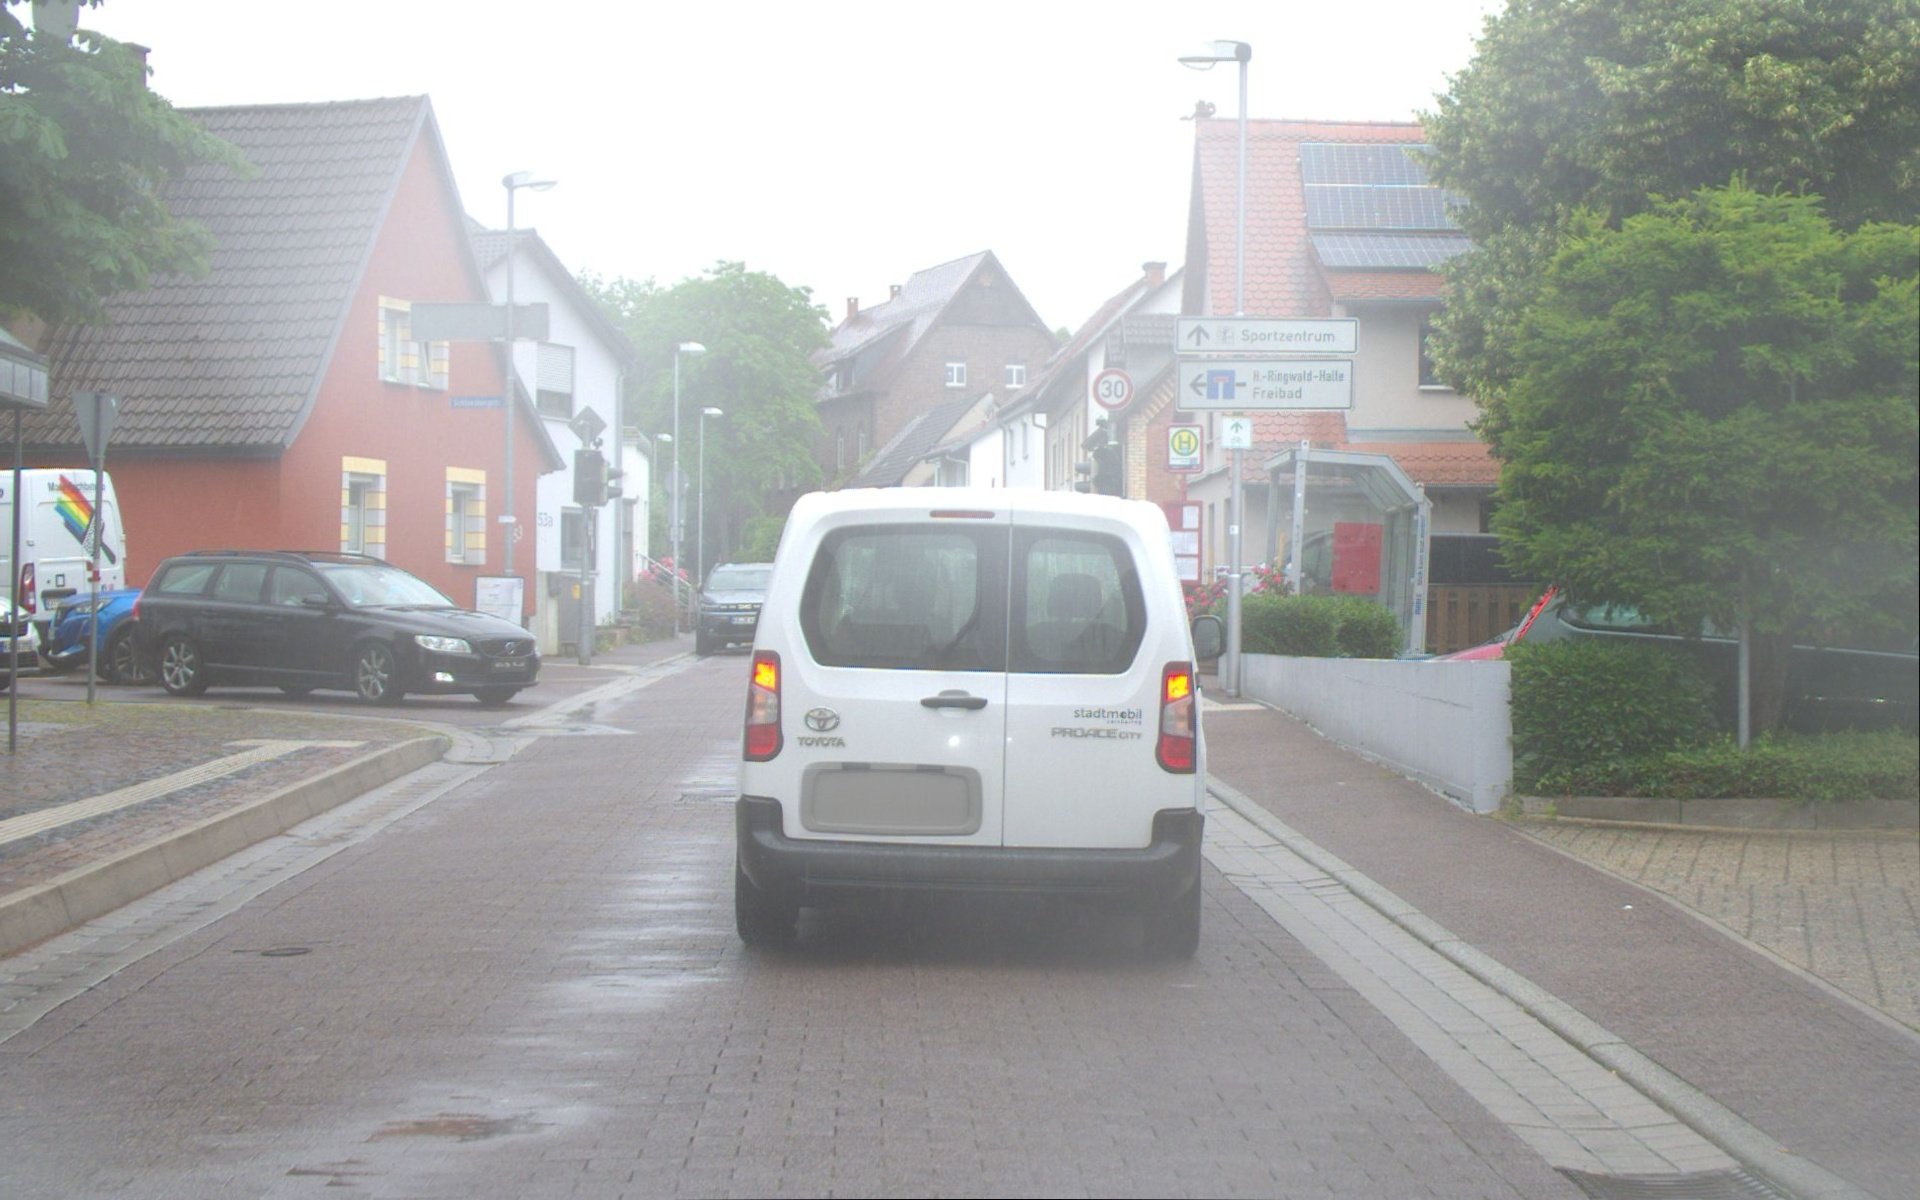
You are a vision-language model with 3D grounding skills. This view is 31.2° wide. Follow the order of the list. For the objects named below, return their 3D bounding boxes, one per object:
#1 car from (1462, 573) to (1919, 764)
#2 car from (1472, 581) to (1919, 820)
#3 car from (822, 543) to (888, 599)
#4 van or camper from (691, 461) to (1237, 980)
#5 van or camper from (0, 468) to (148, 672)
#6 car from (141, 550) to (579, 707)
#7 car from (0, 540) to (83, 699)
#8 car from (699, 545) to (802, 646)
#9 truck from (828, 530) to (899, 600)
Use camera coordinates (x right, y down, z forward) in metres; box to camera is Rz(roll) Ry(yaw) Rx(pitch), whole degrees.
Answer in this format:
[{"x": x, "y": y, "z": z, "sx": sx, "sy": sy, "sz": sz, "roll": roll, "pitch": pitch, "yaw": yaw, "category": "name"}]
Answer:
[{"x": 6.583, "y": 0.573, "z": 30.480, "sx": 4.070, "sy": 1.584, "sz": 1.856, "roll": 1, "pitch": 0, "yaw": 13, "category": "car"}, {"x": 5.588, "y": 0.635, "z": 22.634, "sx": 4.231, "sy": 1.475, "sz": 1.694, "roll": 1, "pitch": 0, "yaw": 14, "category": "car"}, {"x": -3.477, "y": -0.974, "z": 112.709, "sx": 1.993, "sy": 1.741, "sz": 4.001, "roll": 1, "pitch": 1, "yaw": -4, "category": "car"}, {"x": -0.066, "y": 0.409, "z": 14.426, "sx": 1.943, "sy": 1.845, "sz": 4.000, "roll": 1, "pitch": 1, "yaw": -2, "category": "van or camper"}, {"x": -12.975, "y": -0.395, "z": 43.114, "sx": 5.149, "sy": 2.427, "sz": 2.208, "roll": 0, "pitch": 1, "yaw": 25, "category": "van or camper"}, {"x": -6.095, "y": 0.253, "z": 34.750, "sx": 4.309, "sy": 1.472, "sz": 1.846, "roll": 0, "pitch": 1, "yaw": 35, "category": "car"}, {"x": -11.391, "y": 0.114, "z": 35.005, "sx": 4.450, "sy": 1.544, "sz": 1.881, "roll": 2, "pitch": 1, "yaw": 20, "category": "car"}, {"x": -3.816, "y": -0.115, "z": 62.923, "sx": 1.812, "sy": 1.773, "sz": 4.018, "roll": 0, "pitch": 1, "yaw": -3, "category": "car"}, {"x": -3.542, "y": -1.301, "z": 125.467, "sx": 2.350, "sy": 2.417, "sz": 4.950, "roll": 1, "pitch": 1, "yaw": -4, "category": "truck"}]
